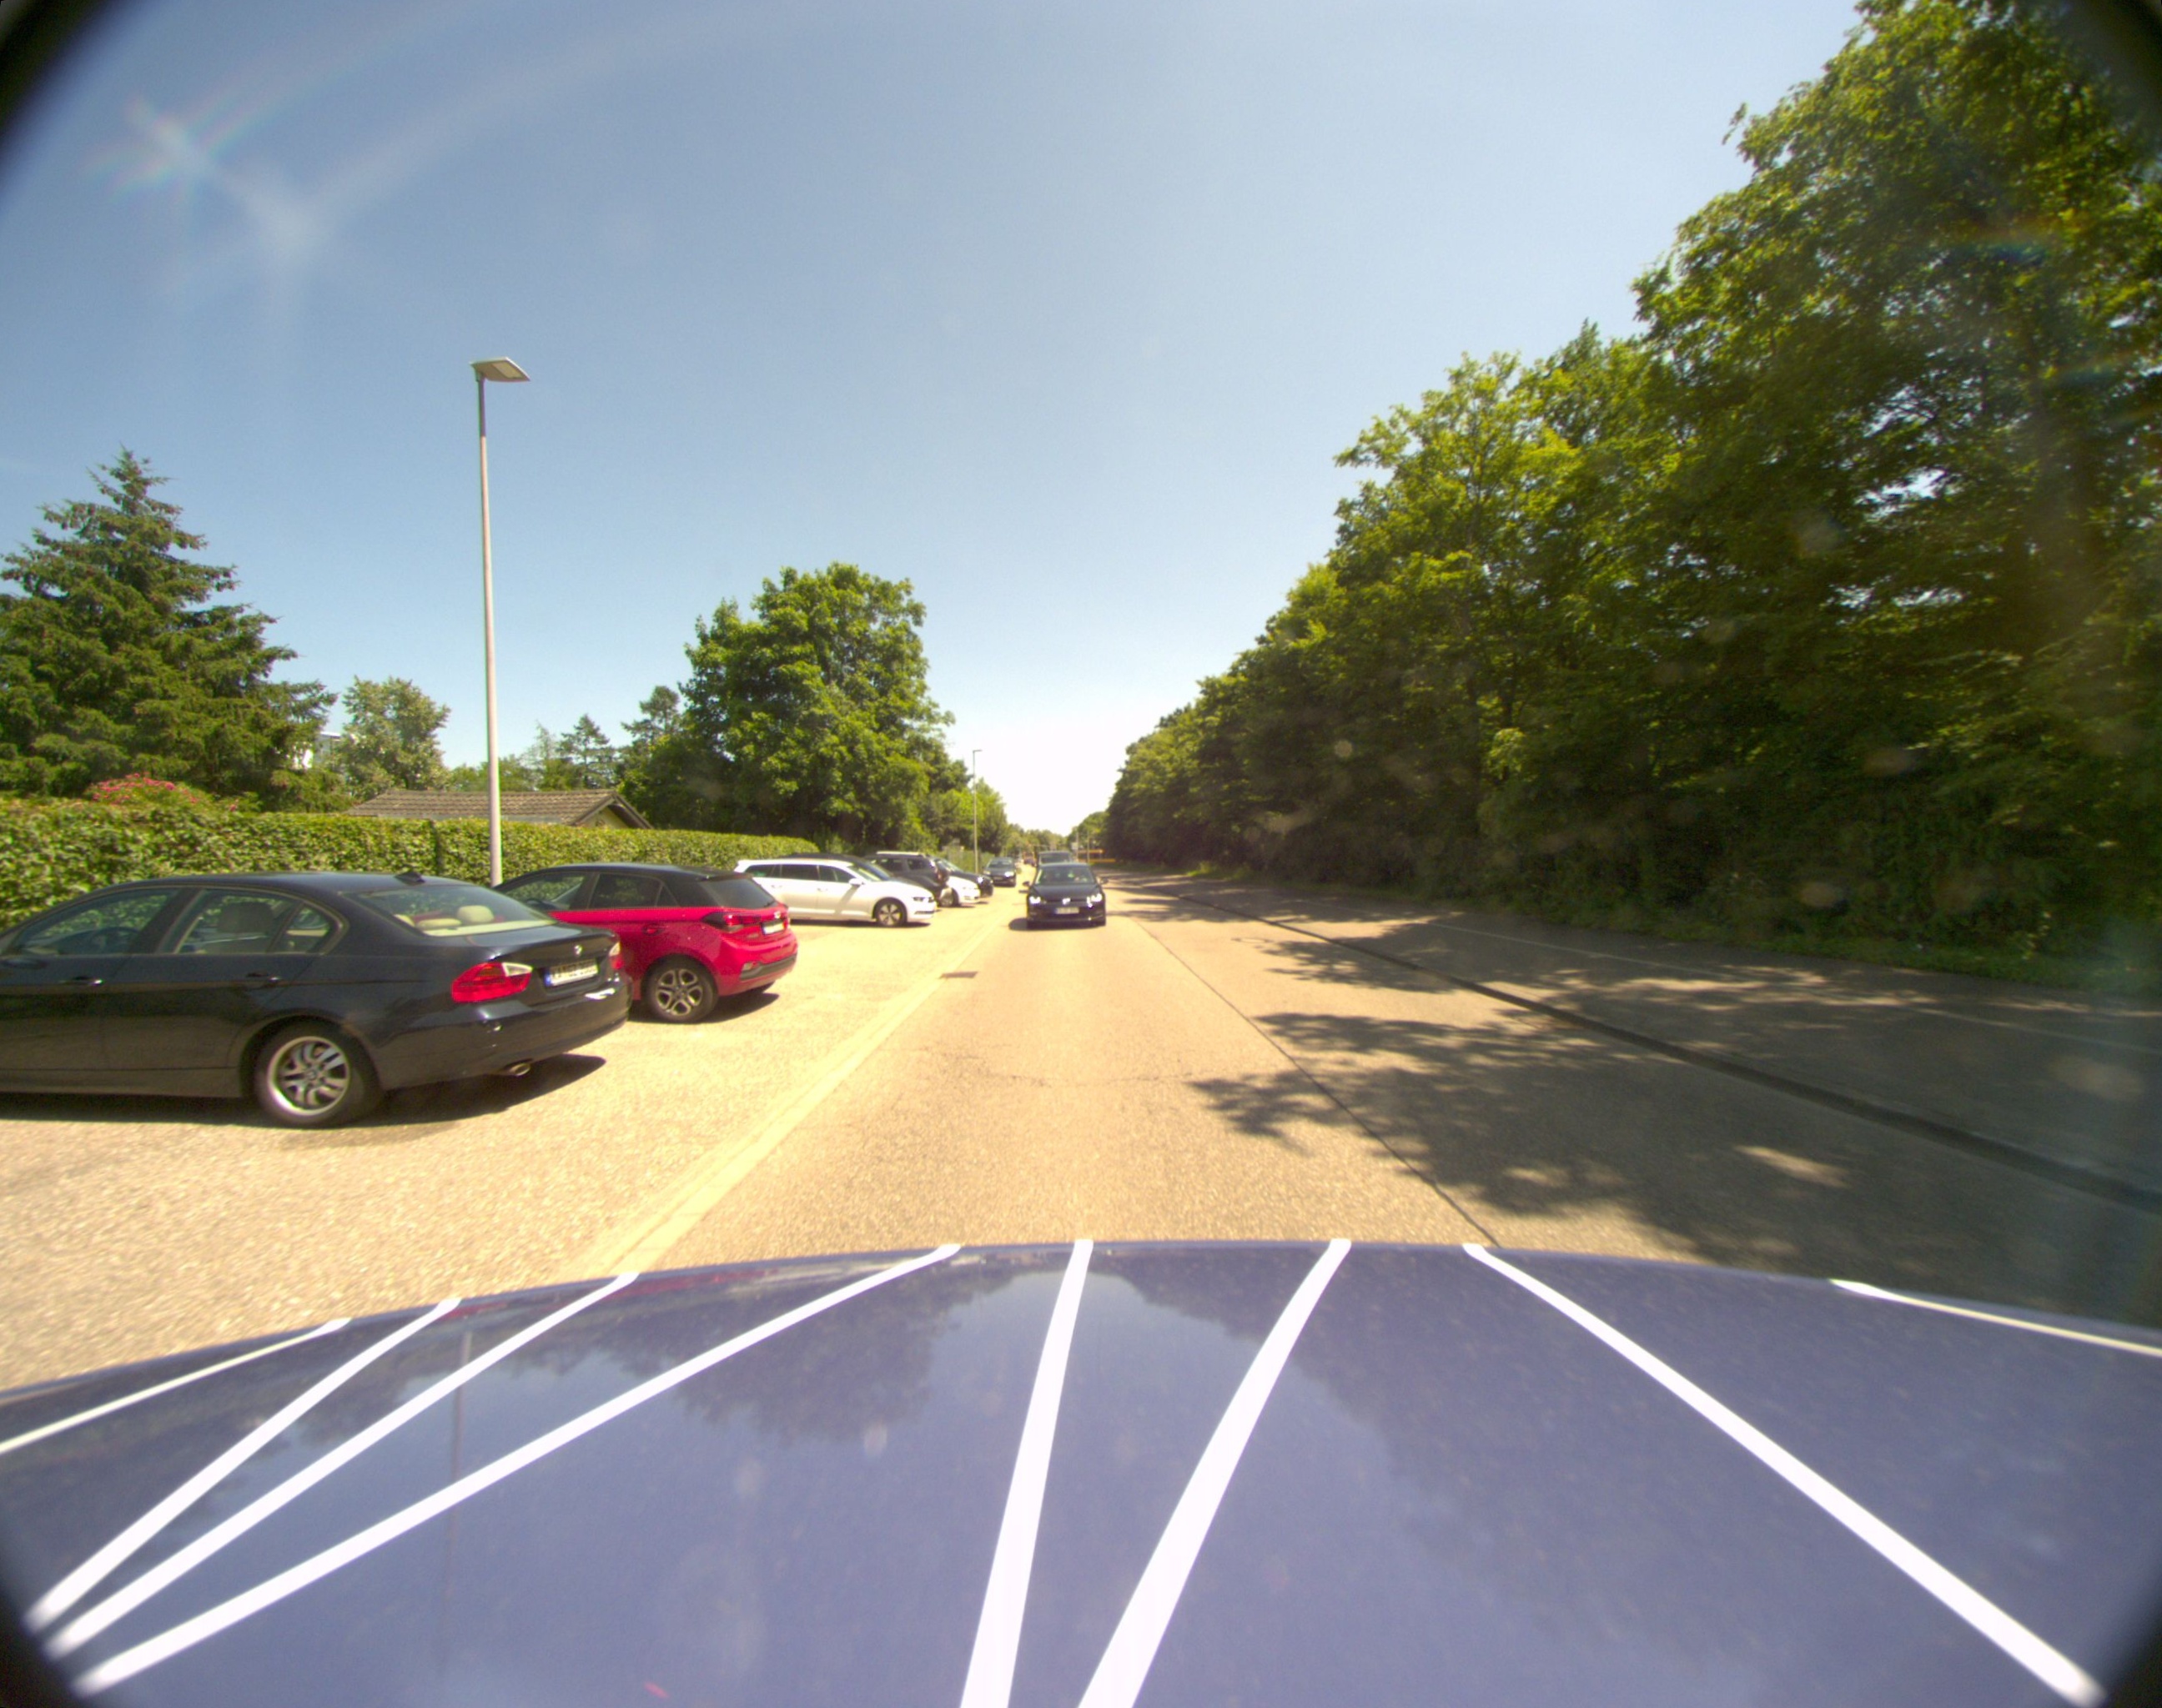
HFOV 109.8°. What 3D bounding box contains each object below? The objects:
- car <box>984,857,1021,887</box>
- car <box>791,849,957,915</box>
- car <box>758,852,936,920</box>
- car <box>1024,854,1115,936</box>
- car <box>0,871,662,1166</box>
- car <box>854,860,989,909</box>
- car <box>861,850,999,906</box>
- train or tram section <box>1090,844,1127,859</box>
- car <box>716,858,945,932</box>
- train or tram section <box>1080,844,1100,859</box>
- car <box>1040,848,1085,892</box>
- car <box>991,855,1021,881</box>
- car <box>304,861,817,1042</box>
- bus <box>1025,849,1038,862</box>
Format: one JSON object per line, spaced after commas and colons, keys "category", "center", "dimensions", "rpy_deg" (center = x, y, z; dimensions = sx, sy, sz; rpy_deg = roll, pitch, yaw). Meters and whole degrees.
{"category": "car", "center": [-4.301, 0.961, 42.159], "dimensions": [1.794, 1.473, 4.663], "rpy_deg": [2, 0, -3]}
{"category": "car", "center": [-5.947, 0.781, 22.211], "dimensions": [4.268, 1.688, 1.853], "rpy_deg": [2, 0, 0]}
{"category": "car", "center": [-5.970, 0.808, 19.748], "dimensions": [4.060, 1.539, 1.757], "rpy_deg": [2, 0, -4]}
{"category": "car", "center": [-0.334, 0.889, 18.483], "dimensions": [1.887, 1.667, 4.662], "rpy_deg": [-2, 0, -2]}
{"category": "car", "center": [-5.388, 0.900, 4.976], "dimensions": [4.214, 1.380, 1.841], "rpy_deg": [2, 0, 0]}
{"category": "car", "center": [-5.089, 0.961, 24.645], "dimensions": [4.007, 1.444, 1.831], "rpy_deg": [1, 0, -1]}
{"category": "car", "center": [-5.276, 0.823, 27.071], "dimensions": [4.482, 1.694, 1.913], "rpy_deg": [3, 0, -2]}
{"category": "train or tram section", "center": [6.557, -0.646, 181.941], "dimensions": [2.656, 3.446, 10.825], "rpy_deg": [-1, 0, -37]}
{"category": "car", "center": [-5.536, 0.892, 17.332], "dimensions": [4.571, 1.430, 1.960], "rpy_deg": [2, 0, -4]}
{"category": "train or tram section", "center": [2.212, -0.604, 191.335], "dimensions": [2.580, 3.445, 10.842], "rpy_deg": [-1, 0, -12]}
{"category": "car", "center": [-0.965, 0.743, 36.914], "dimensions": [2.002, 1.965, 4.449], "rpy_deg": [-2, 0, -4]}
{"category": "car", "center": [-4.809, 0.886, 49.127], "dimensions": [1.794, 1.594, 4.128], "rpy_deg": [0, 0, -4]}
{"category": "car", "center": [-5.022, 0.893, 7.795], "dimensions": [3.929, 1.470, 1.845], "rpy_deg": [2, 0, 0]}
{"category": "bus", "center": [-12.867, 0.342, 197.417], "dimensions": [2.931, 3.248, 8.328], "rpy_deg": [-1, 0, -2]}
